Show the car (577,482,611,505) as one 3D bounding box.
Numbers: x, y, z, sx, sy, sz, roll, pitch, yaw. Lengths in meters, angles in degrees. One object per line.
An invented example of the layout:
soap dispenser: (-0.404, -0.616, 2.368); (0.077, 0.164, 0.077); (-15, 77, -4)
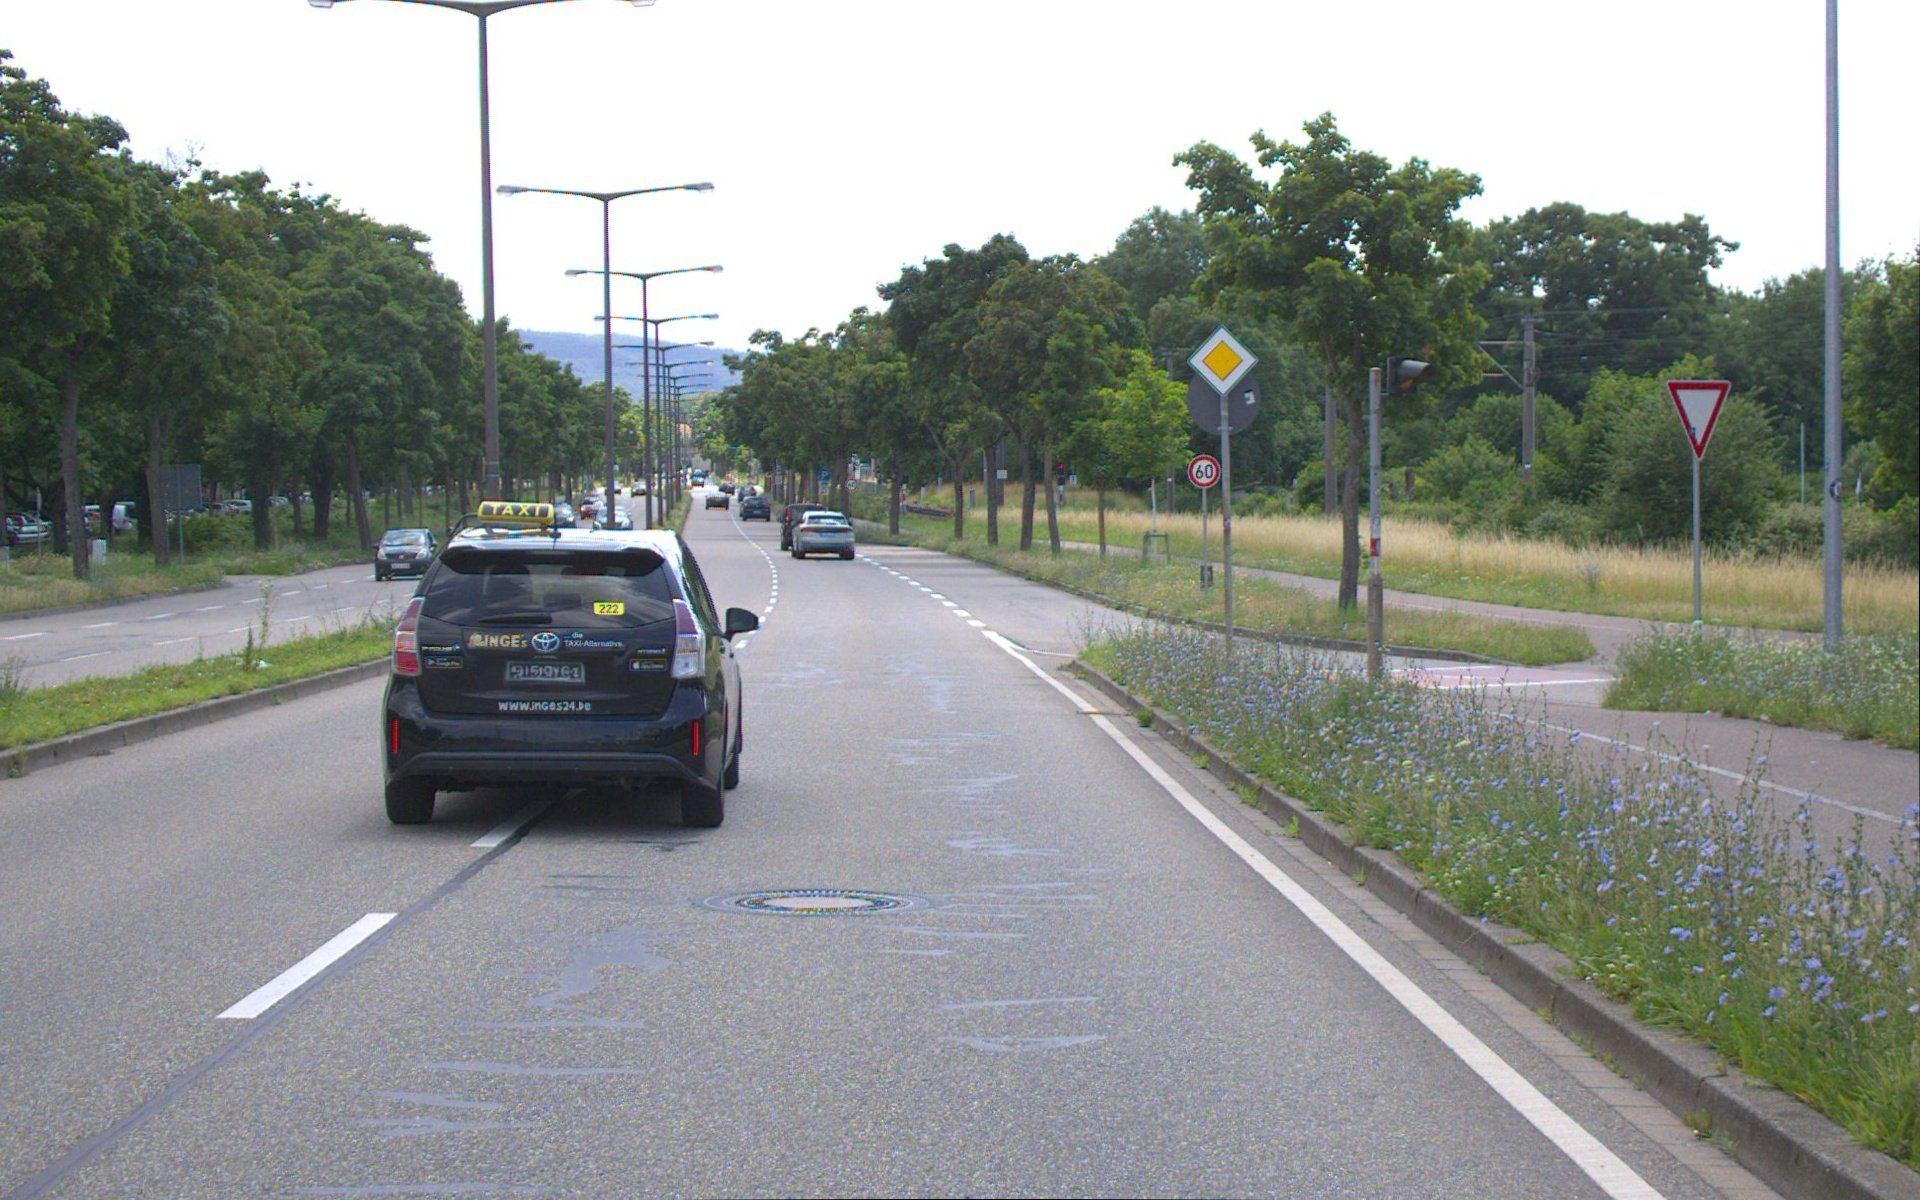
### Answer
car: (-25.087, -7.309, 235.916); (1.879, 1.502, 3.798); (1, 2, 0)

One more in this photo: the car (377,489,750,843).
car: (-2.081, 0.266, 18.982); (1.779, 1.678, 4.001); (1, 2, -3)

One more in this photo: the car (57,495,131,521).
car: (-49.594, -5.261, 196.910); (3.785, 1.383, 1.786); (1, 2, 1)

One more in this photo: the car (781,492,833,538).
car: (-5.984, -3.336, 134.486); (1.993, 1.656, 4.001); (1, 2, -3)

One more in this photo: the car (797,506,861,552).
car: (-4.587, -2.488, 119.922); (1.993, 1.502, 4.001); (1, 2, -5)

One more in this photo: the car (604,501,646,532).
car: (-16.115, -4.011, 165.363); (1.810, 1.393, 4.735); (-1, 3, -3)

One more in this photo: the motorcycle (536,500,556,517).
motorcycle: (-20.104, -4.450, 166.855); (0.751, 0.769, 2.672); (1, 2, -3)

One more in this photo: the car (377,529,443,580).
car: (-15.733, -1.308, 98.233); (1.700, 1.422, 3.676); (-1, 1, -12)
